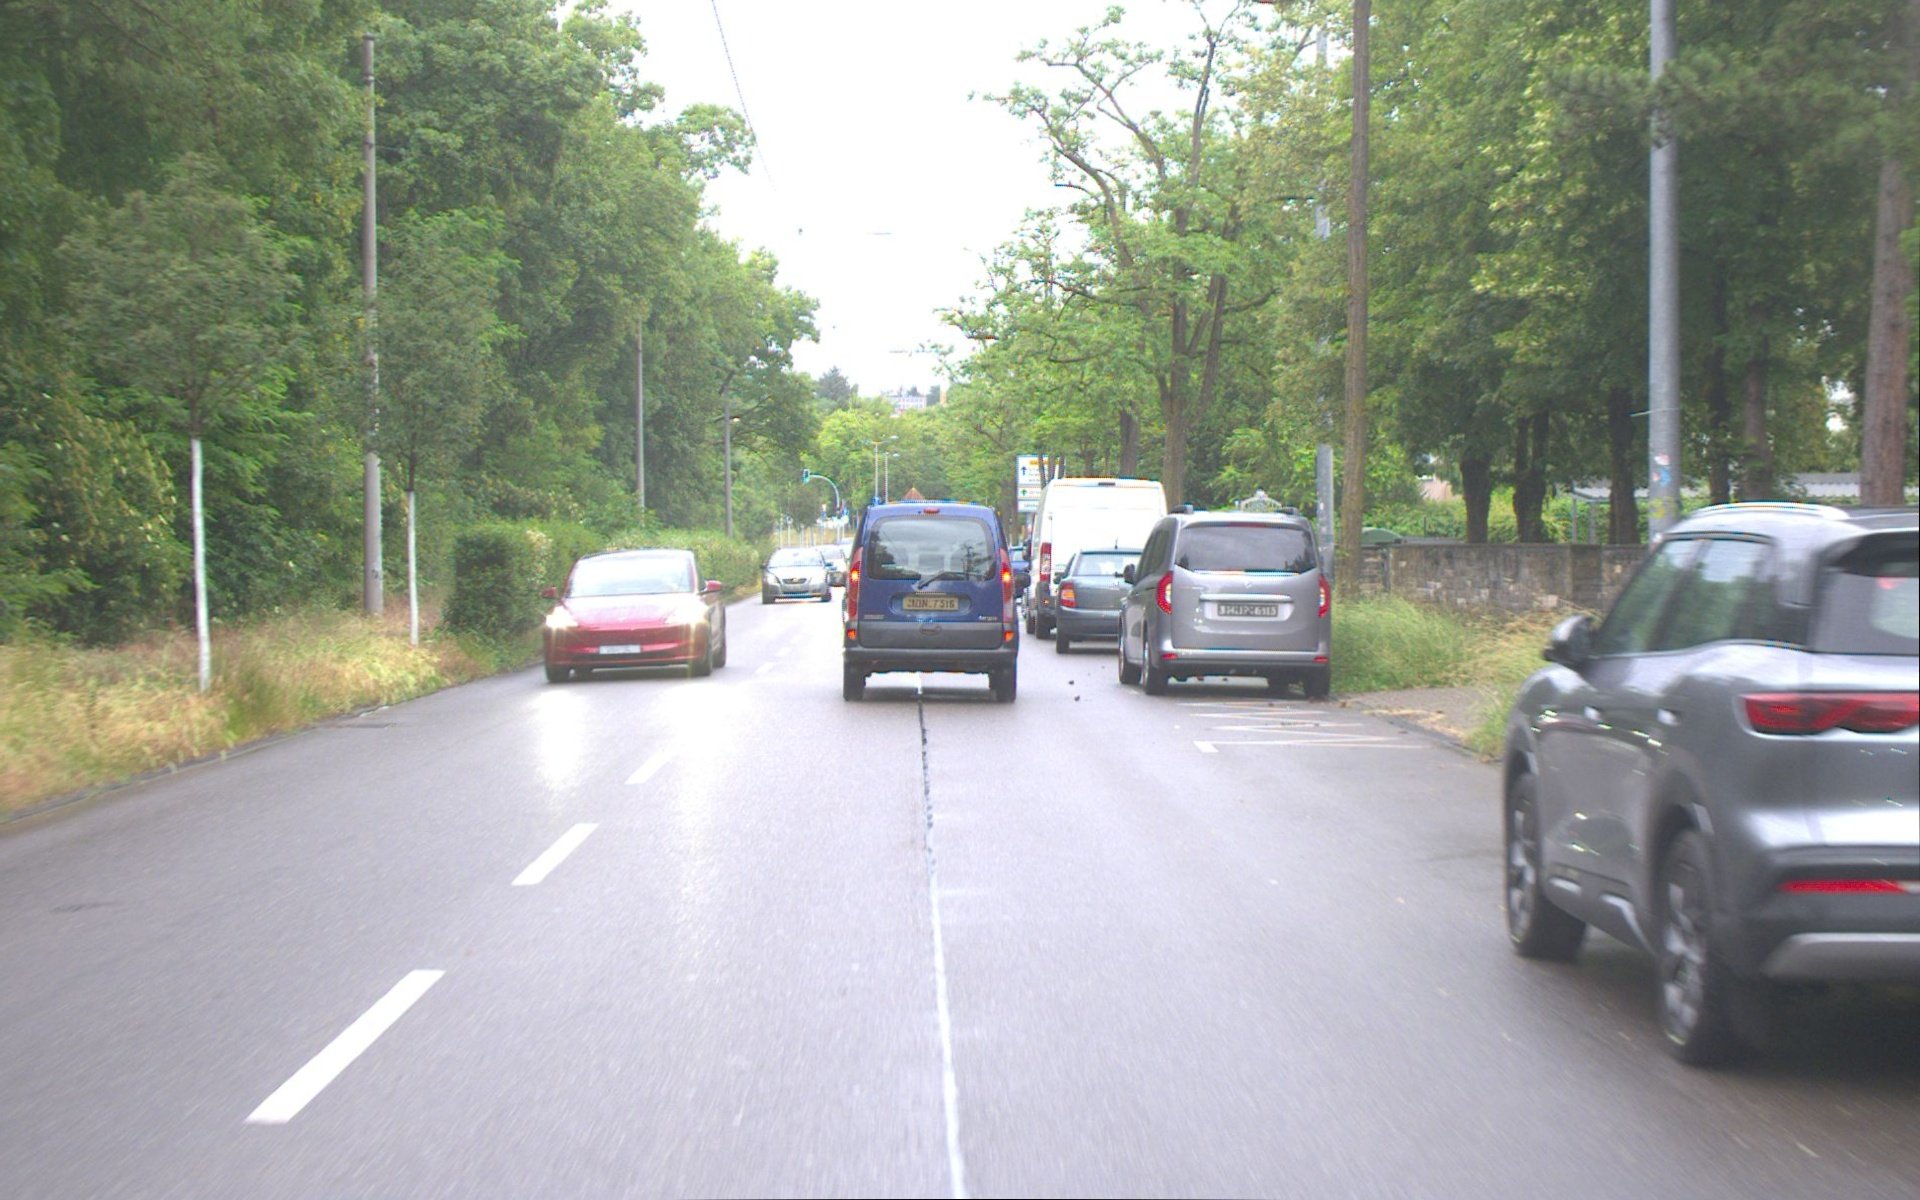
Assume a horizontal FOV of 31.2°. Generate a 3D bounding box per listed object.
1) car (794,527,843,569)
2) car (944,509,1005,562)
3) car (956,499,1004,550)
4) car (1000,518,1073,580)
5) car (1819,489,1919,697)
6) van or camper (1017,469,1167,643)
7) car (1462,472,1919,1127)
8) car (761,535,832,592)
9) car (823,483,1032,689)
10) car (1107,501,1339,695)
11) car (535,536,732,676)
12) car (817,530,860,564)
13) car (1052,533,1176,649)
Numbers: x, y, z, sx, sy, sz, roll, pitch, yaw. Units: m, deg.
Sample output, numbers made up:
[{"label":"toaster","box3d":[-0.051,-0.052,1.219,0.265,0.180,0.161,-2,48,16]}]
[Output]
[{"label":"car","box3d":[-5.378,-2.011,131.021,1.729,1.487,4.001,-1,2,-1]},{"label":"car","box3d":[0.406,-1.924,101.906,1.618,1.503,3.835,1,2,-2]},{"label":"car","box3d":[0.930,-3.635,165.792,2.205,2.441,4.730,0,1,-1]},{"label":"car","box3d":[1.951,-1.323,88.361,1.721,1.500,4.050,1,2,0]},{"label":"car","box3d":[9.656,-0.164,28.856,4.309,1.676,2.000,-3,0,0]},{"label":"van or camper","box3d":[2.083,-0.757,55.584,2.078,2.641,5.347,1,2,-1]},{"label":"car","box3d":[2.875,0.472,11.222,1.773,1.717,4.327,1,2,0]},{"label":"car","box3d":[-4.331,-0.952,91.462,1.783,1.474,3.968,-1,0,-1]},{"label":"car","box3d":[-0.363,-0.183,32.723,1.766,1.824,3.543,1,2,-4]},{"label":"car","box3d":[2.610,-0.078,35.015,1.814,1.807,4.283,1,2,-3]},{"label":"car","box3d":[-3.686,0.025,39.403,1.860,1.475,4.157,-1,1,0]},{"label":"car","box3d":[-5.870,-2.564,166.342,1.856,1.463,4.447,-3,2,0]},{"label":"car","box3d":[2.124,-0.157,47.674,1.626,1.459,3.808,1,2,2]}]
